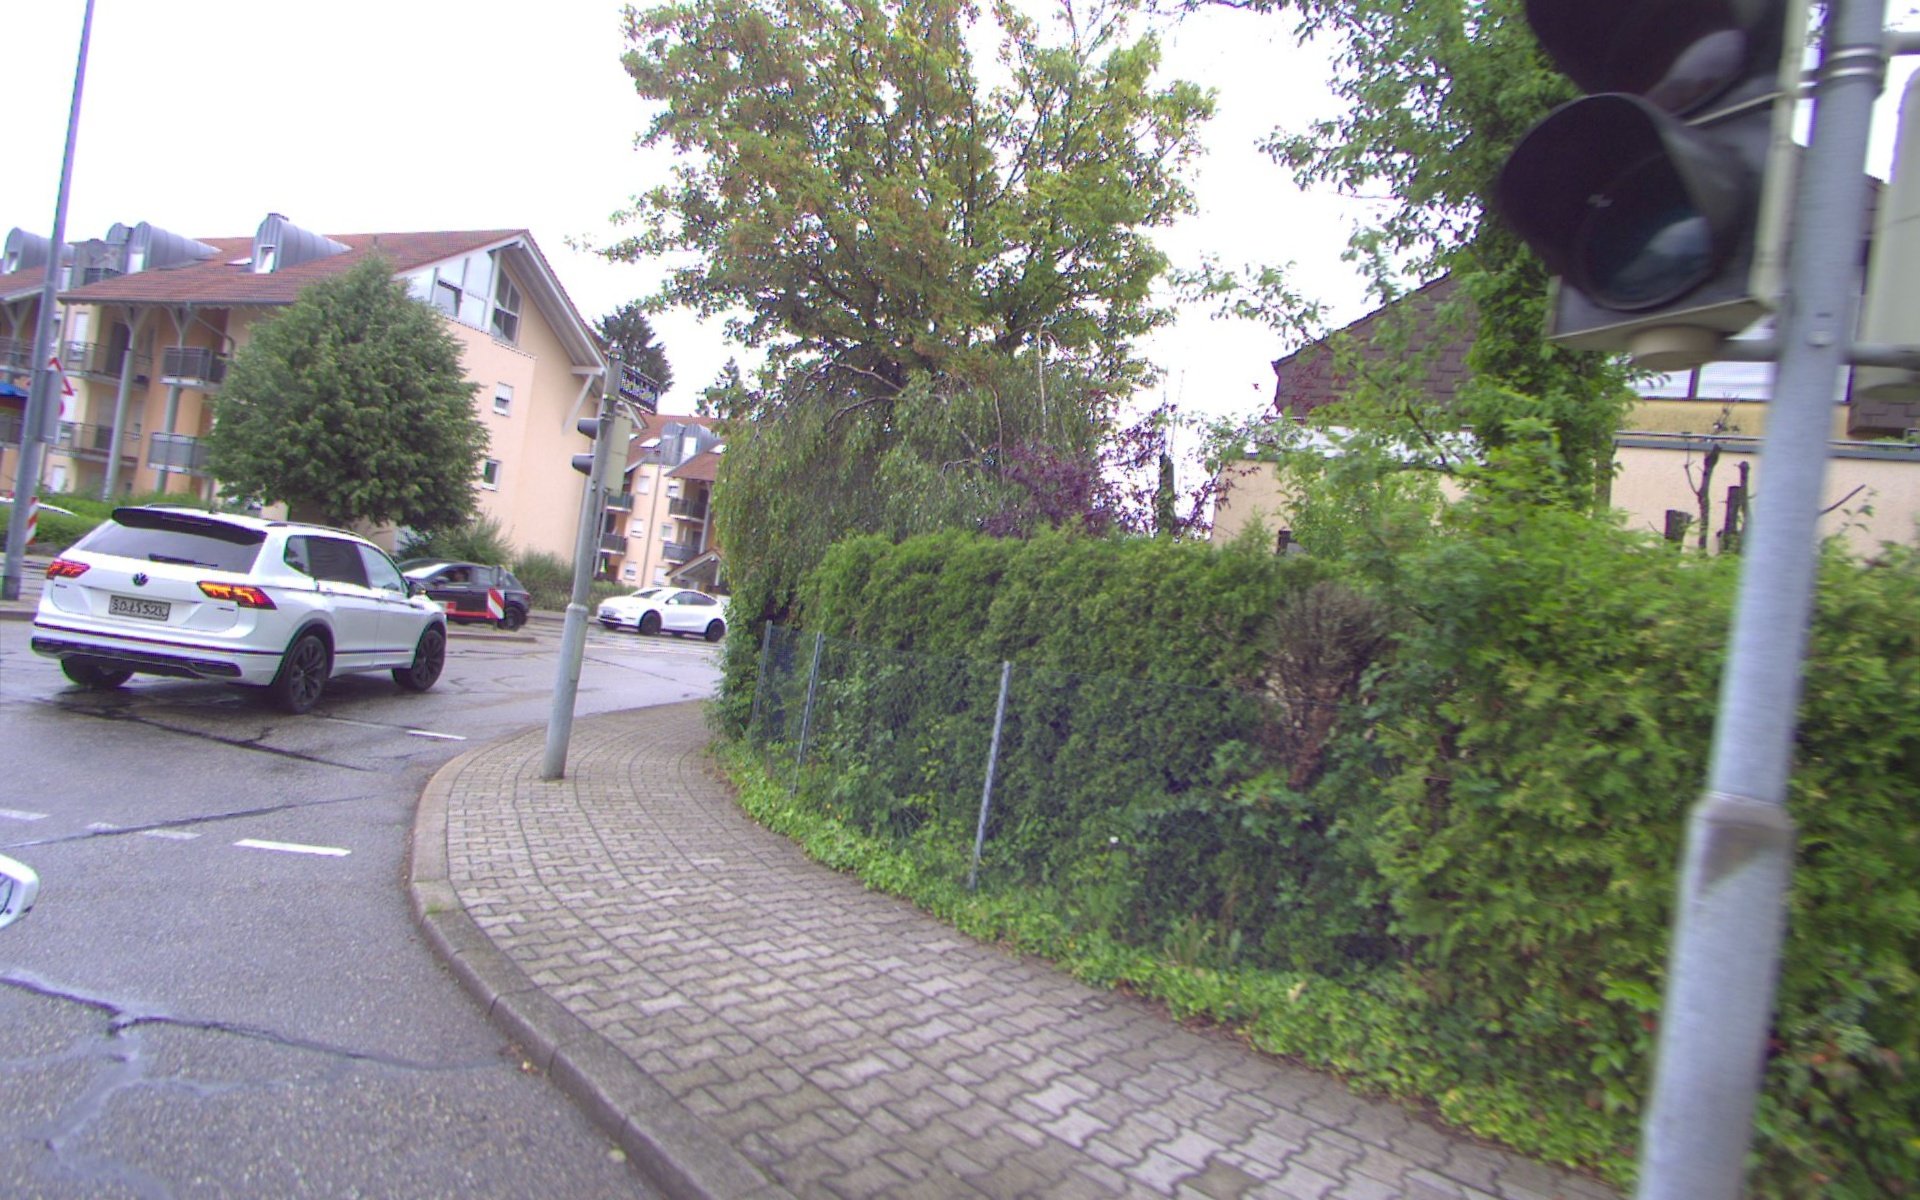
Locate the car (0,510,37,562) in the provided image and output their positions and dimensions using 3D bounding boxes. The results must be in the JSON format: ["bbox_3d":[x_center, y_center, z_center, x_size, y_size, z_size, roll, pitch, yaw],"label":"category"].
[{"bbox_3d":[-30.010,-2.117,29.556,1.736,1.425,3.856,8,0,30],"label":"car"}]

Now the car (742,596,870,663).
[{"bbox_3d":[-4.979,1.000,32.972,1.800,1.502,3.934,8,-4,35],"label":"car"}]

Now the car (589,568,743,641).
[{"bbox_3d":[-9.442,0.211,32.707,1.921,1.745,4.595,8,-1,31],"label":"car"}]

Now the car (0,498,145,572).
[{"bbox_3d":[-24.084,-1.786,26.043,1.792,1.455,4.198,6,-3,31],"label":"car"}]

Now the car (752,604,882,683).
[{"bbox_3d":[-3.554,1.187,25.784,1.737,1.525,4.008,9,-3,14],"label":"car"}]

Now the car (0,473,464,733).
[{"bbox_3d":[-6.769,0.051,9.901,1.894,1.742,4.261,8,-1,-7],"label":"car"}]

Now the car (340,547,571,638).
[{"bbox_3d":[-10.827,-0.096,21.935,1.790,1.425,4.202,7,-1,25],"label":"car"}]

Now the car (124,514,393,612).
[{"bbox_3d":[-14.901,-0.725,21.650,1.730,1.452,4.348,7,-1,30],"label":"car"}]
